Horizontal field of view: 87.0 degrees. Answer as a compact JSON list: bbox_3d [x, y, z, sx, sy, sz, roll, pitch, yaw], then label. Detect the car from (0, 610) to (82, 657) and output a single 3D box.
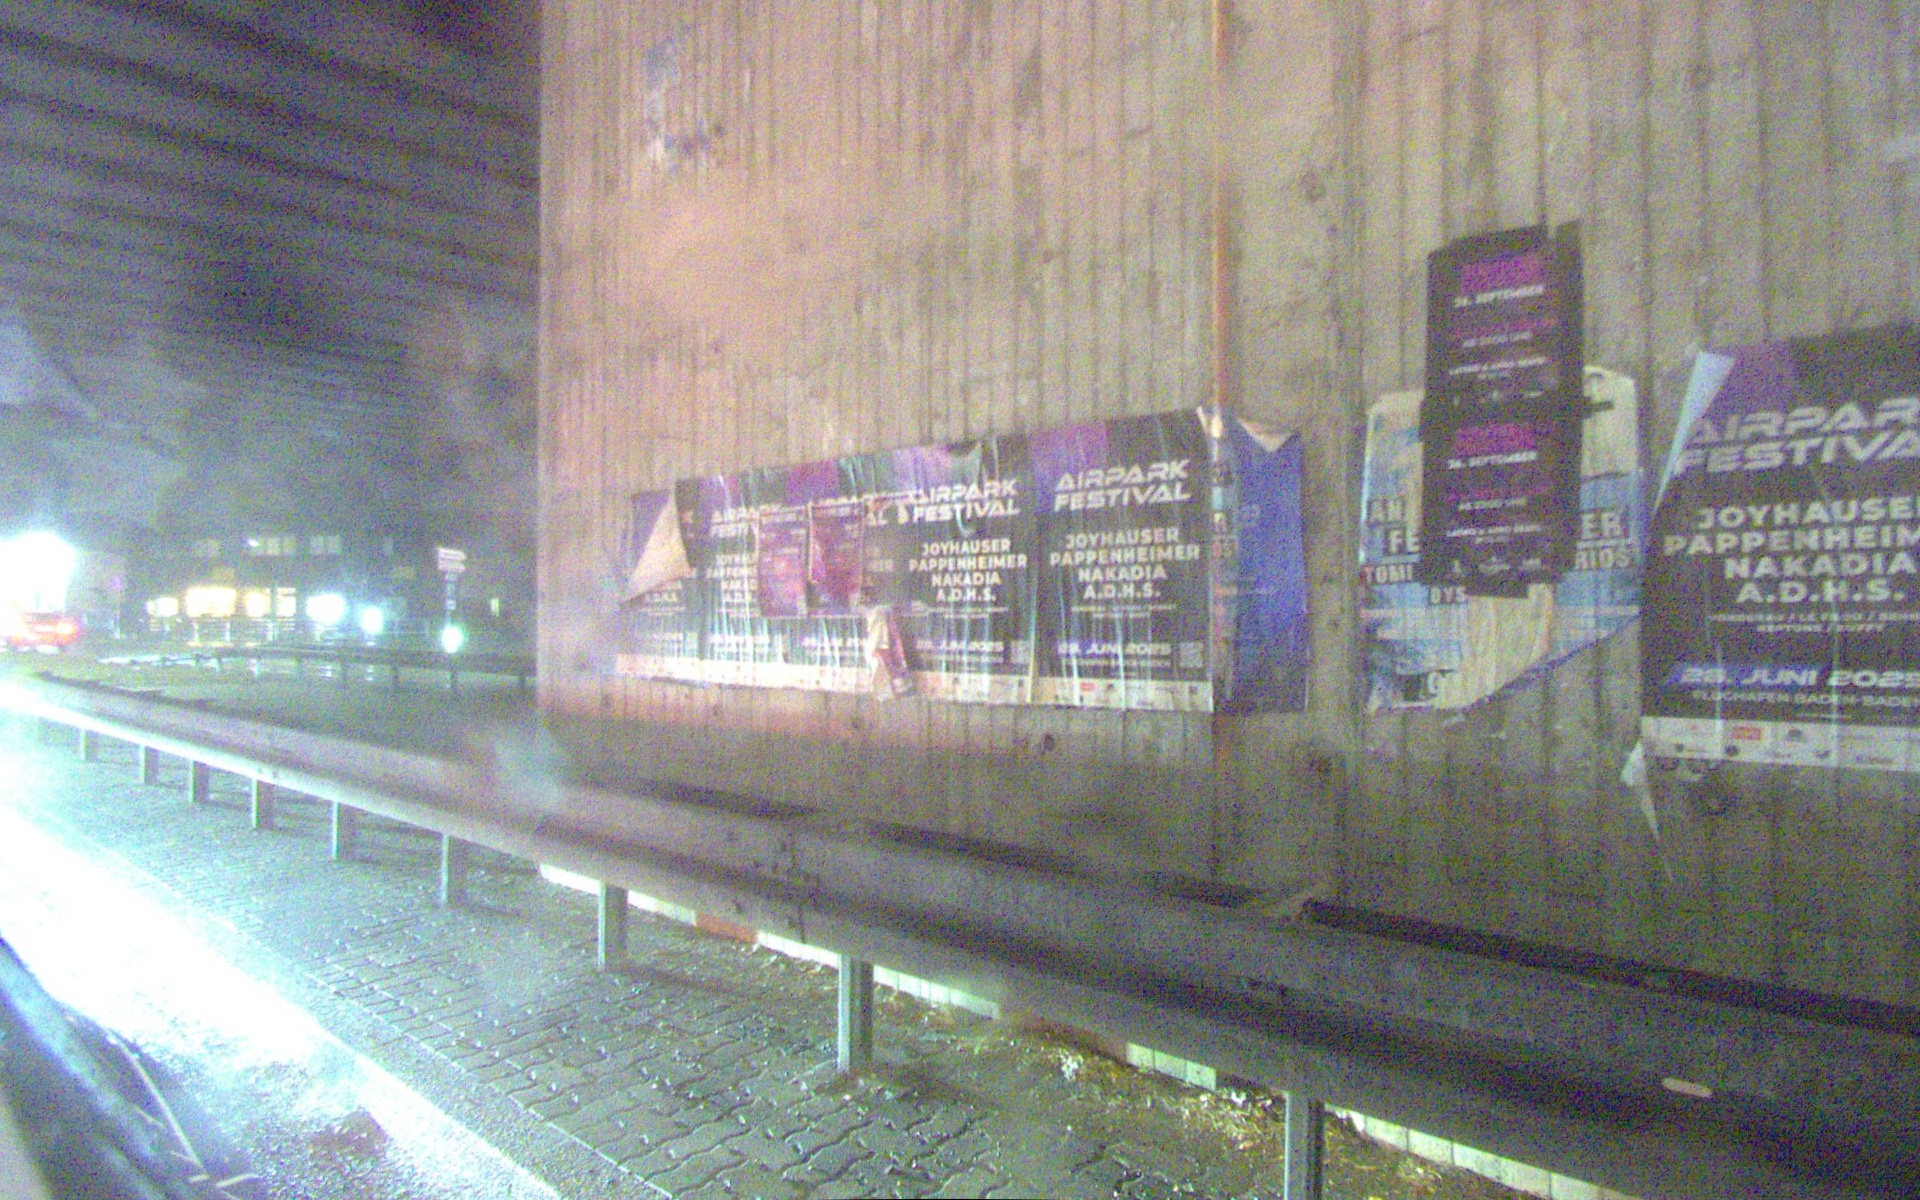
[{"bbox_3d":[-33.522,1.227,36.174,4.063,1.600,1.893,-2,-4,28],"label":"car"}]
